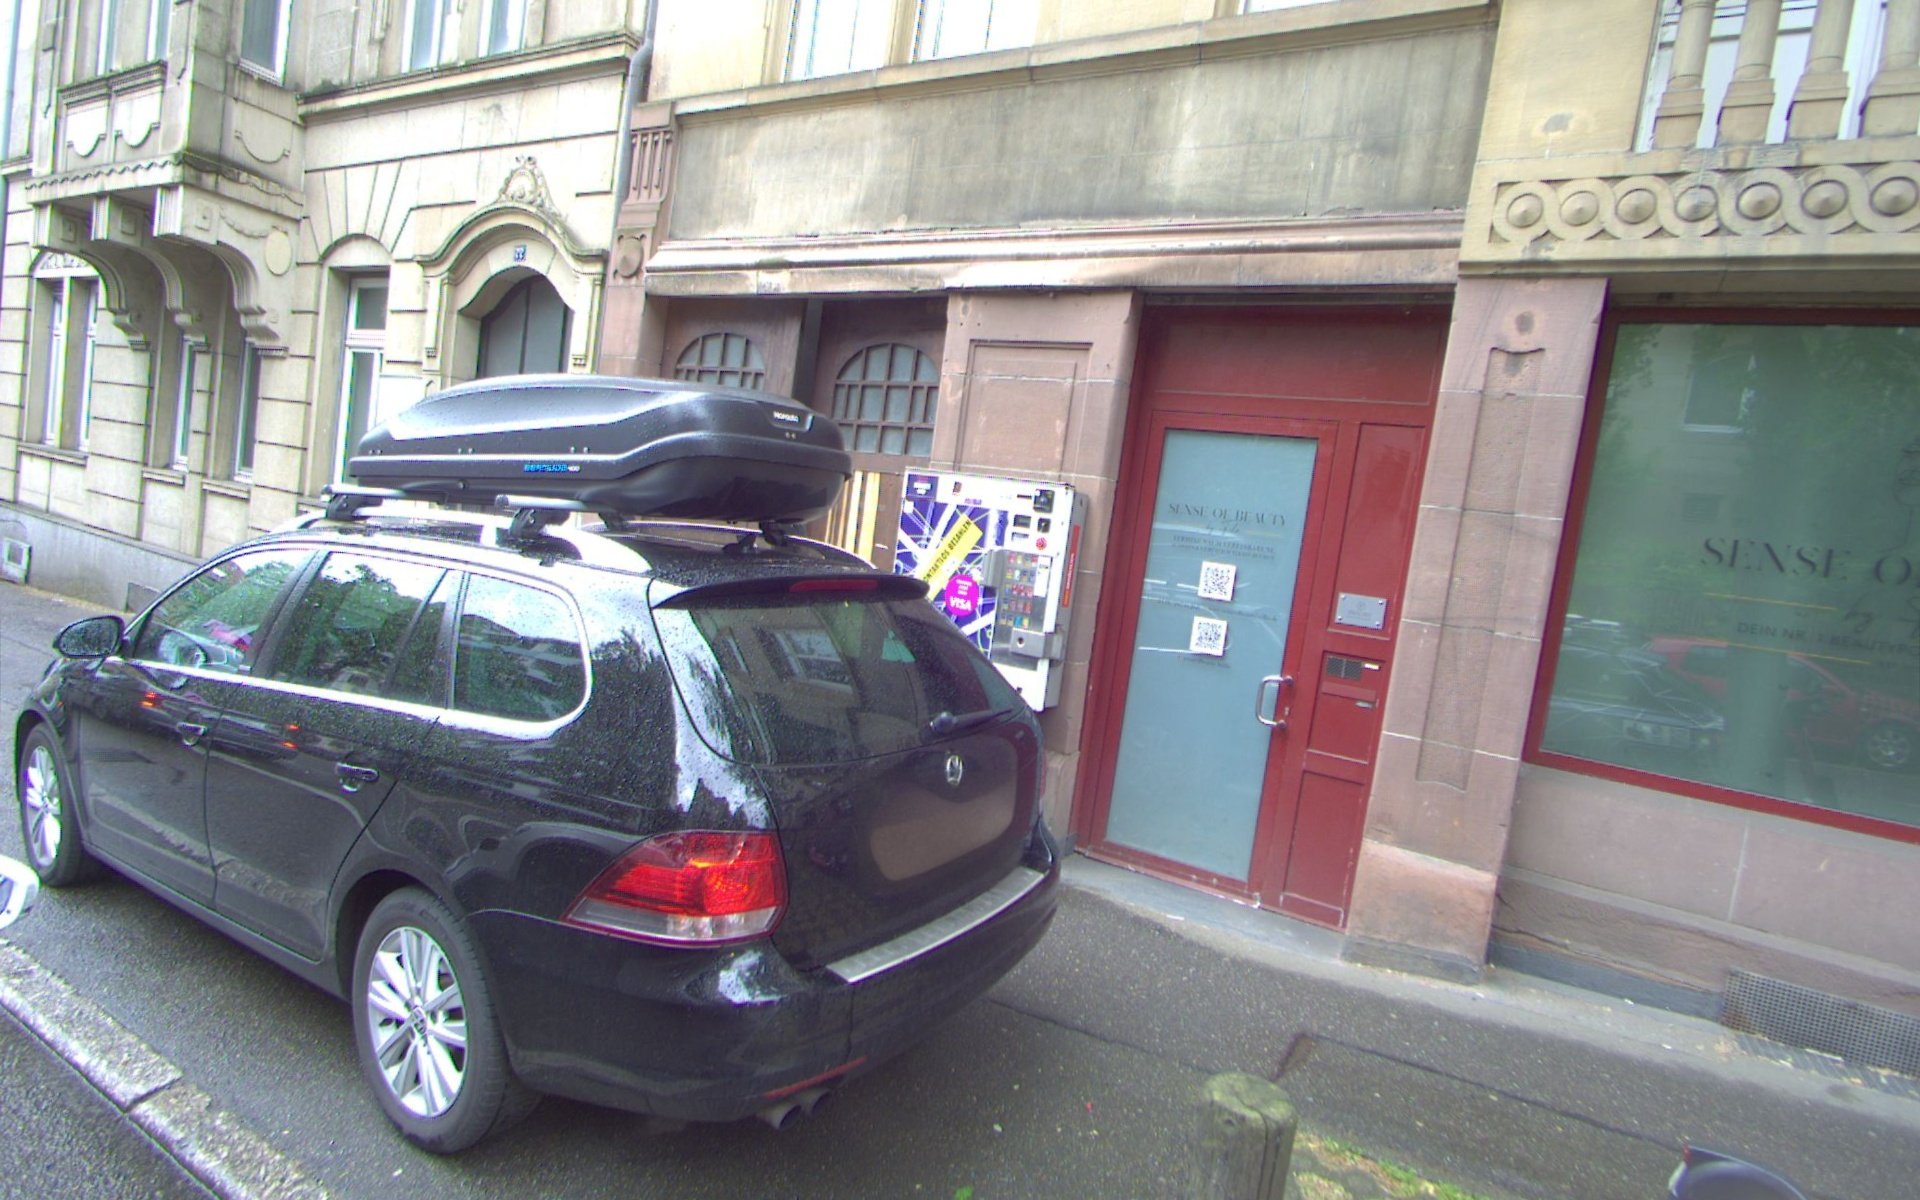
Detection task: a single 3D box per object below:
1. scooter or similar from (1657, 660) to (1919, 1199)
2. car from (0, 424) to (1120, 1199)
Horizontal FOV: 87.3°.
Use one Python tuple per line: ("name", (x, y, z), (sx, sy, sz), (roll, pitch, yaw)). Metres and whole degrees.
("scooter or similar", (2.167, 0.863, 1.930), (1.183, 1.336, 0.593), (7, 3, 32))
("car", (-1.731, 0.366, 3.456), (4.031, 1.675, 1.757), (7, 6, 32))
